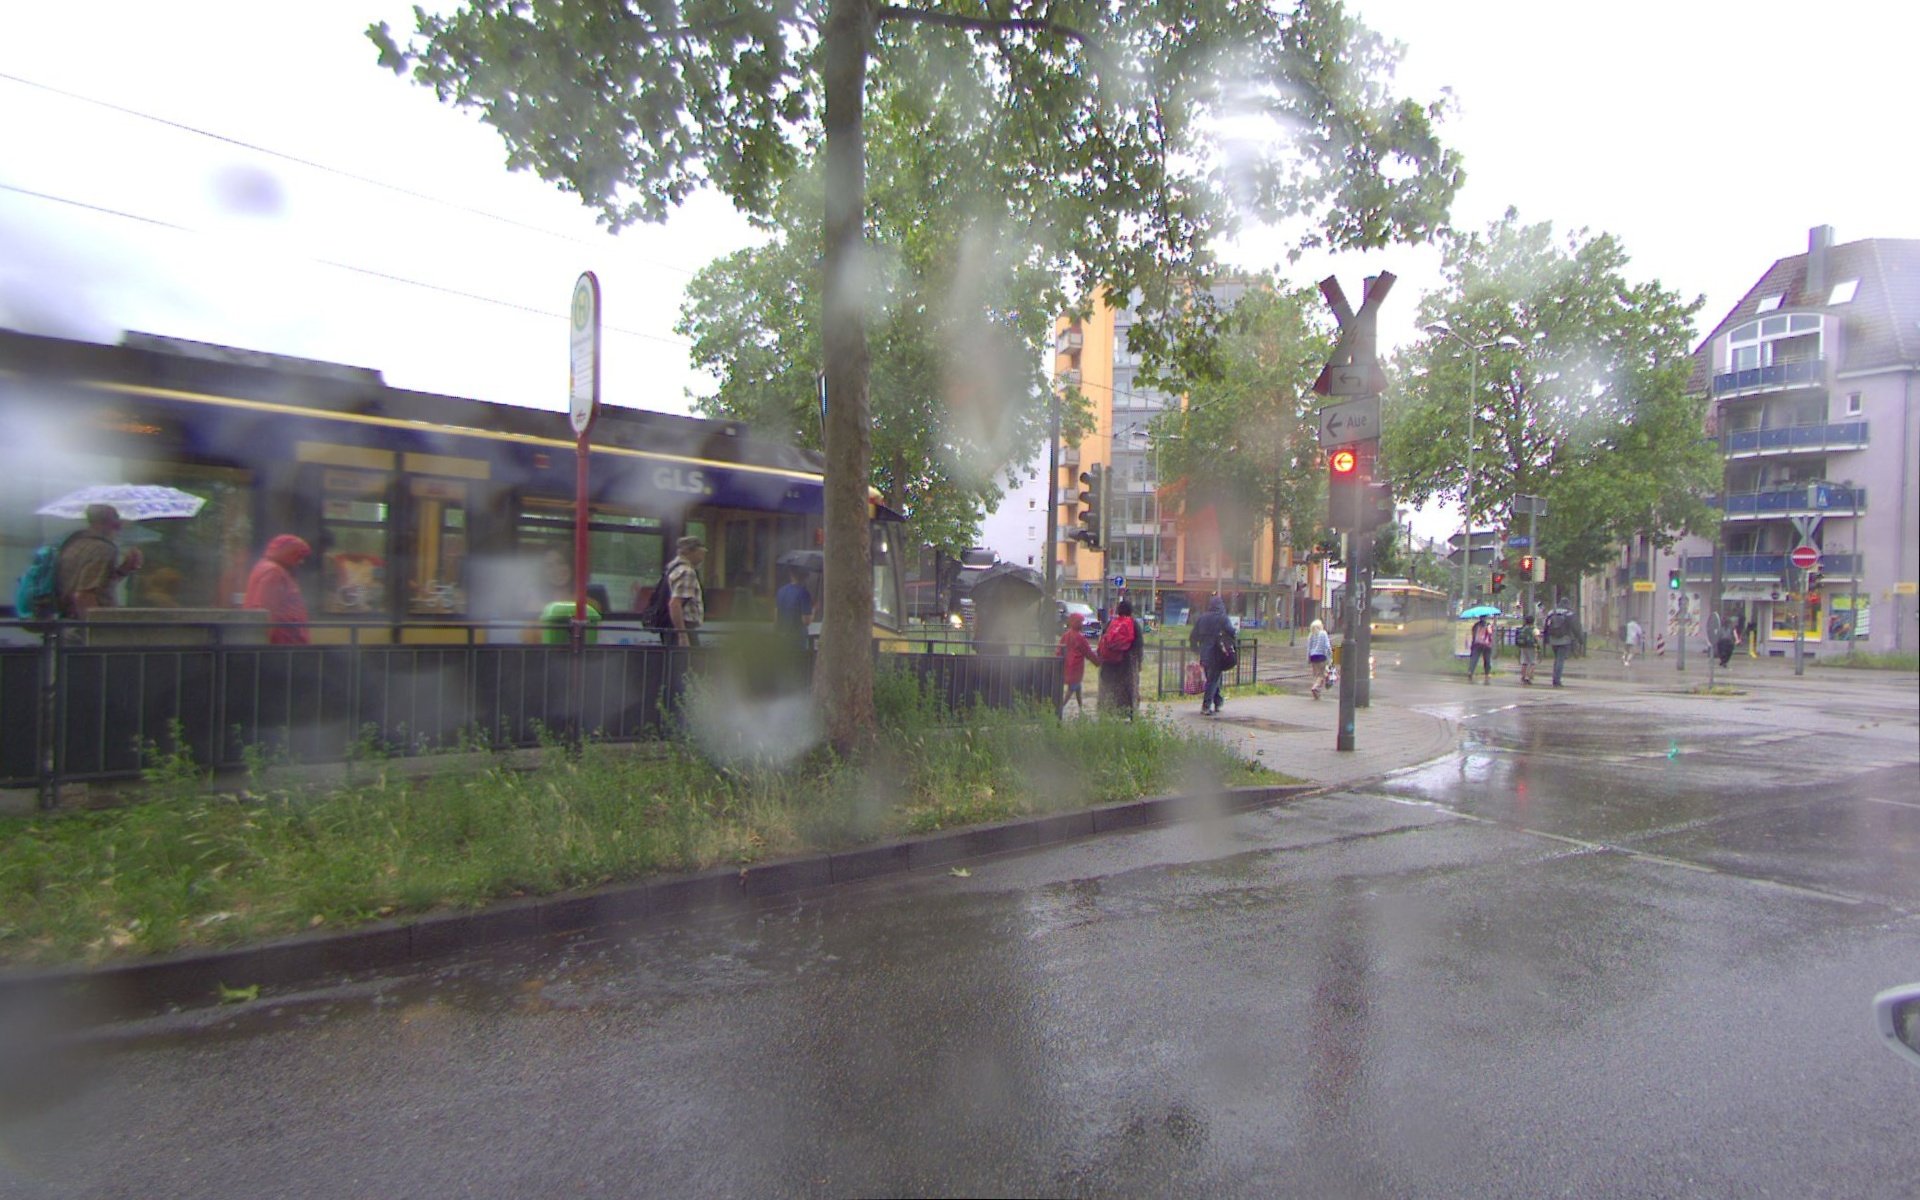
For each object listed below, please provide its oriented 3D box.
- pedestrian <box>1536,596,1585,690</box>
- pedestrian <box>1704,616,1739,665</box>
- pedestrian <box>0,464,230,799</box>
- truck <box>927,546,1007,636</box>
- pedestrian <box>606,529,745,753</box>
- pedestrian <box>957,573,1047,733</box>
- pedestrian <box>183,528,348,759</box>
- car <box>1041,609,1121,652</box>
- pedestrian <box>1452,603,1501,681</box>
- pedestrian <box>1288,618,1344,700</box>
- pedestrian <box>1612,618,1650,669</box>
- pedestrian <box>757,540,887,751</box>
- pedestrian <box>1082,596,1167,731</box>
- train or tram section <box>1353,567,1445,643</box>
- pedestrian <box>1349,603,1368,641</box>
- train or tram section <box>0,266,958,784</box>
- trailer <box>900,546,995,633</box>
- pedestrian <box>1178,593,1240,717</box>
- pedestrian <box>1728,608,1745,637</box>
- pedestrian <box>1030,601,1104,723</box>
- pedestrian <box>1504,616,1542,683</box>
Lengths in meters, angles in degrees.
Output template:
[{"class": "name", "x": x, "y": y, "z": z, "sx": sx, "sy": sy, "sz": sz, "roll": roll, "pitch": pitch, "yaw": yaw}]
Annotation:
[{"class": "pedestrian", "x": 12.472, "y": 0.876, "z": 20.868, "sx": 0.777, "sy": 1.880, "sz": 0.679, "roll": 2, "pitch": 1, "yaw": 37}, {"class": "pedestrian", "x": 24.787, "y": 1.297, "z": 32.693, "sx": 0.785, "sy": 1.553, "sz": 0.743, "roll": 2, "pitch": 0, "yaw": -41}, {"class": "pedestrian", "x": -5.259, "y": 0.175, "z": 6.236, "sx": 1.068, "sy": 1.851, "sz": 0.974, "roll": -1, "pitch": 0, "yaw": -41}, {"class": "truck", "x": 0.260, "y": -0.391, "z": 46.054, "sx": 2.593, "sy": 3.842, "sz": 4.444, "roll": 2, "pitch": 0, "yaw": -13}, {"class": "pedestrian", "x": -2.429, "y": 0.326, "z": 8.563, "sx": 0.824, "sy": 1.778, "sz": 0.857, "roll": 1, "pitch": 1, "yaw": -42}, {"class": "pedestrian", "x": 0.477, "y": 0.579, "z": 11.213, "sx": 0.783, "sy": 1.705, "sz": 0.659, "roll": -2, "pitch": 0, "yaw": 23}, {"class": "pedestrian", "x": -5.108, "y": 0.312, "z": 7.405, "sx": 0.783, "sy": 1.593, "sz": 0.659, "roll": -2, "pitch": 0, "yaw": 24}, {"class": "car", "x": 4.811, "y": 1.190, "z": 40.484, "sx": 1.585, "sy": 1.551, "sz": 4.017, "roll": 1, "pitch": 1, "yaw": -19}, {"class": "pedestrian", "x": 12.420, "y": 0.995, "z": 24.158, "sx": 0.943, "sy": 1.789, "sz": 0.951, "roll": 2, "pitch": 0, "yaw": 31}, {"class": "pedestrian", "x": 6.177, "y": 1.005, "z": 17.425, "sx": 0.704, "sy": 1.367, "sz": 0.650, "roll": 1, "pitch": 1, "yaw": -44}, {"class": "pedestrian", "x": 21.801, "y": 1.407, "z": 32.642, "sx": 0.958, "sy": 1.622, "sz": 0.669, "roll": 2, "pitch": 0, "yaw": -34}, {"class": "pedestrian", "x": -1.323, "y": 0.409, "z": 9.617, "sx": 0.885, "sy": 1.889, "sz": 0.861, "roll": 1, "pitch": 1, "yaw": -41}, {"class": "pedestrian", "x": 2.088, "y": 0.770, "z": 12.773, "sx": 0.809, "sy": 1.646, "sz": 0.724, "roll": 0, "pitch": 0, "yaw": -37}, {"class": "train or tram section", "x": 25.990, "y": 0.386, "z": 58.792, "sx": 2.839, "sy": 3.818, "sz": 17.211, "roll": 2, "pitch": 0, "yaw": 30}, {"class": "pedestrian", "x": 23.250, "y": 1.303, "z": 58.638, "sx": 0.871, "sy": 2.179, "sz": 0.910, "roll": 2, "pitch": 0, "yaw": 29}, {"class": "train or tram section", "x": -5.976, "y": -0.495, "z": 9.556, "sx": 13.619, "sy": 3.593, "sz": 2.833, "roll": 2, "pitch": 0, "yaw": -43}, {"class": "trailer", "x": -0.833, "y": -0.467, "z": 50.744, "sx": 2.593, "sy": 3.899, "sz": 10.114, "roll": 2, "pitch": 0, "yaw": -13}, {"class": "pedestrian", "x": 3.576, "y": 0.774, "z": 14.399, "sx": 0.823, "sy": 1.722, "sz": 0.689, "roll": -1, "pitch": 0, "yaw": 17}, {"class": "pedestrian", "x": 36.632, "y": 1.075, "z": 47.398, "sx": 0.442, "sy": 1.347, "sz": 0.554, "roll": 2, "pitch": 0, "yaw": -45}, {"class": "pedestrian", "x": 1.404, "y": 0.791, "z": 13.202, "sx": 0.654, "sy": 1.540, "sz": 0.676, "roll": 1, "pitch": 0, "yaw": -40}, {"class": "pedestrian", "x": 12.196, "y": 1.058, "z": 21.754, "sx": 0.640, "sy": 1.414, "sz": 0.780, "roll": 1, "pitch": 0, "yaw": 35}]
